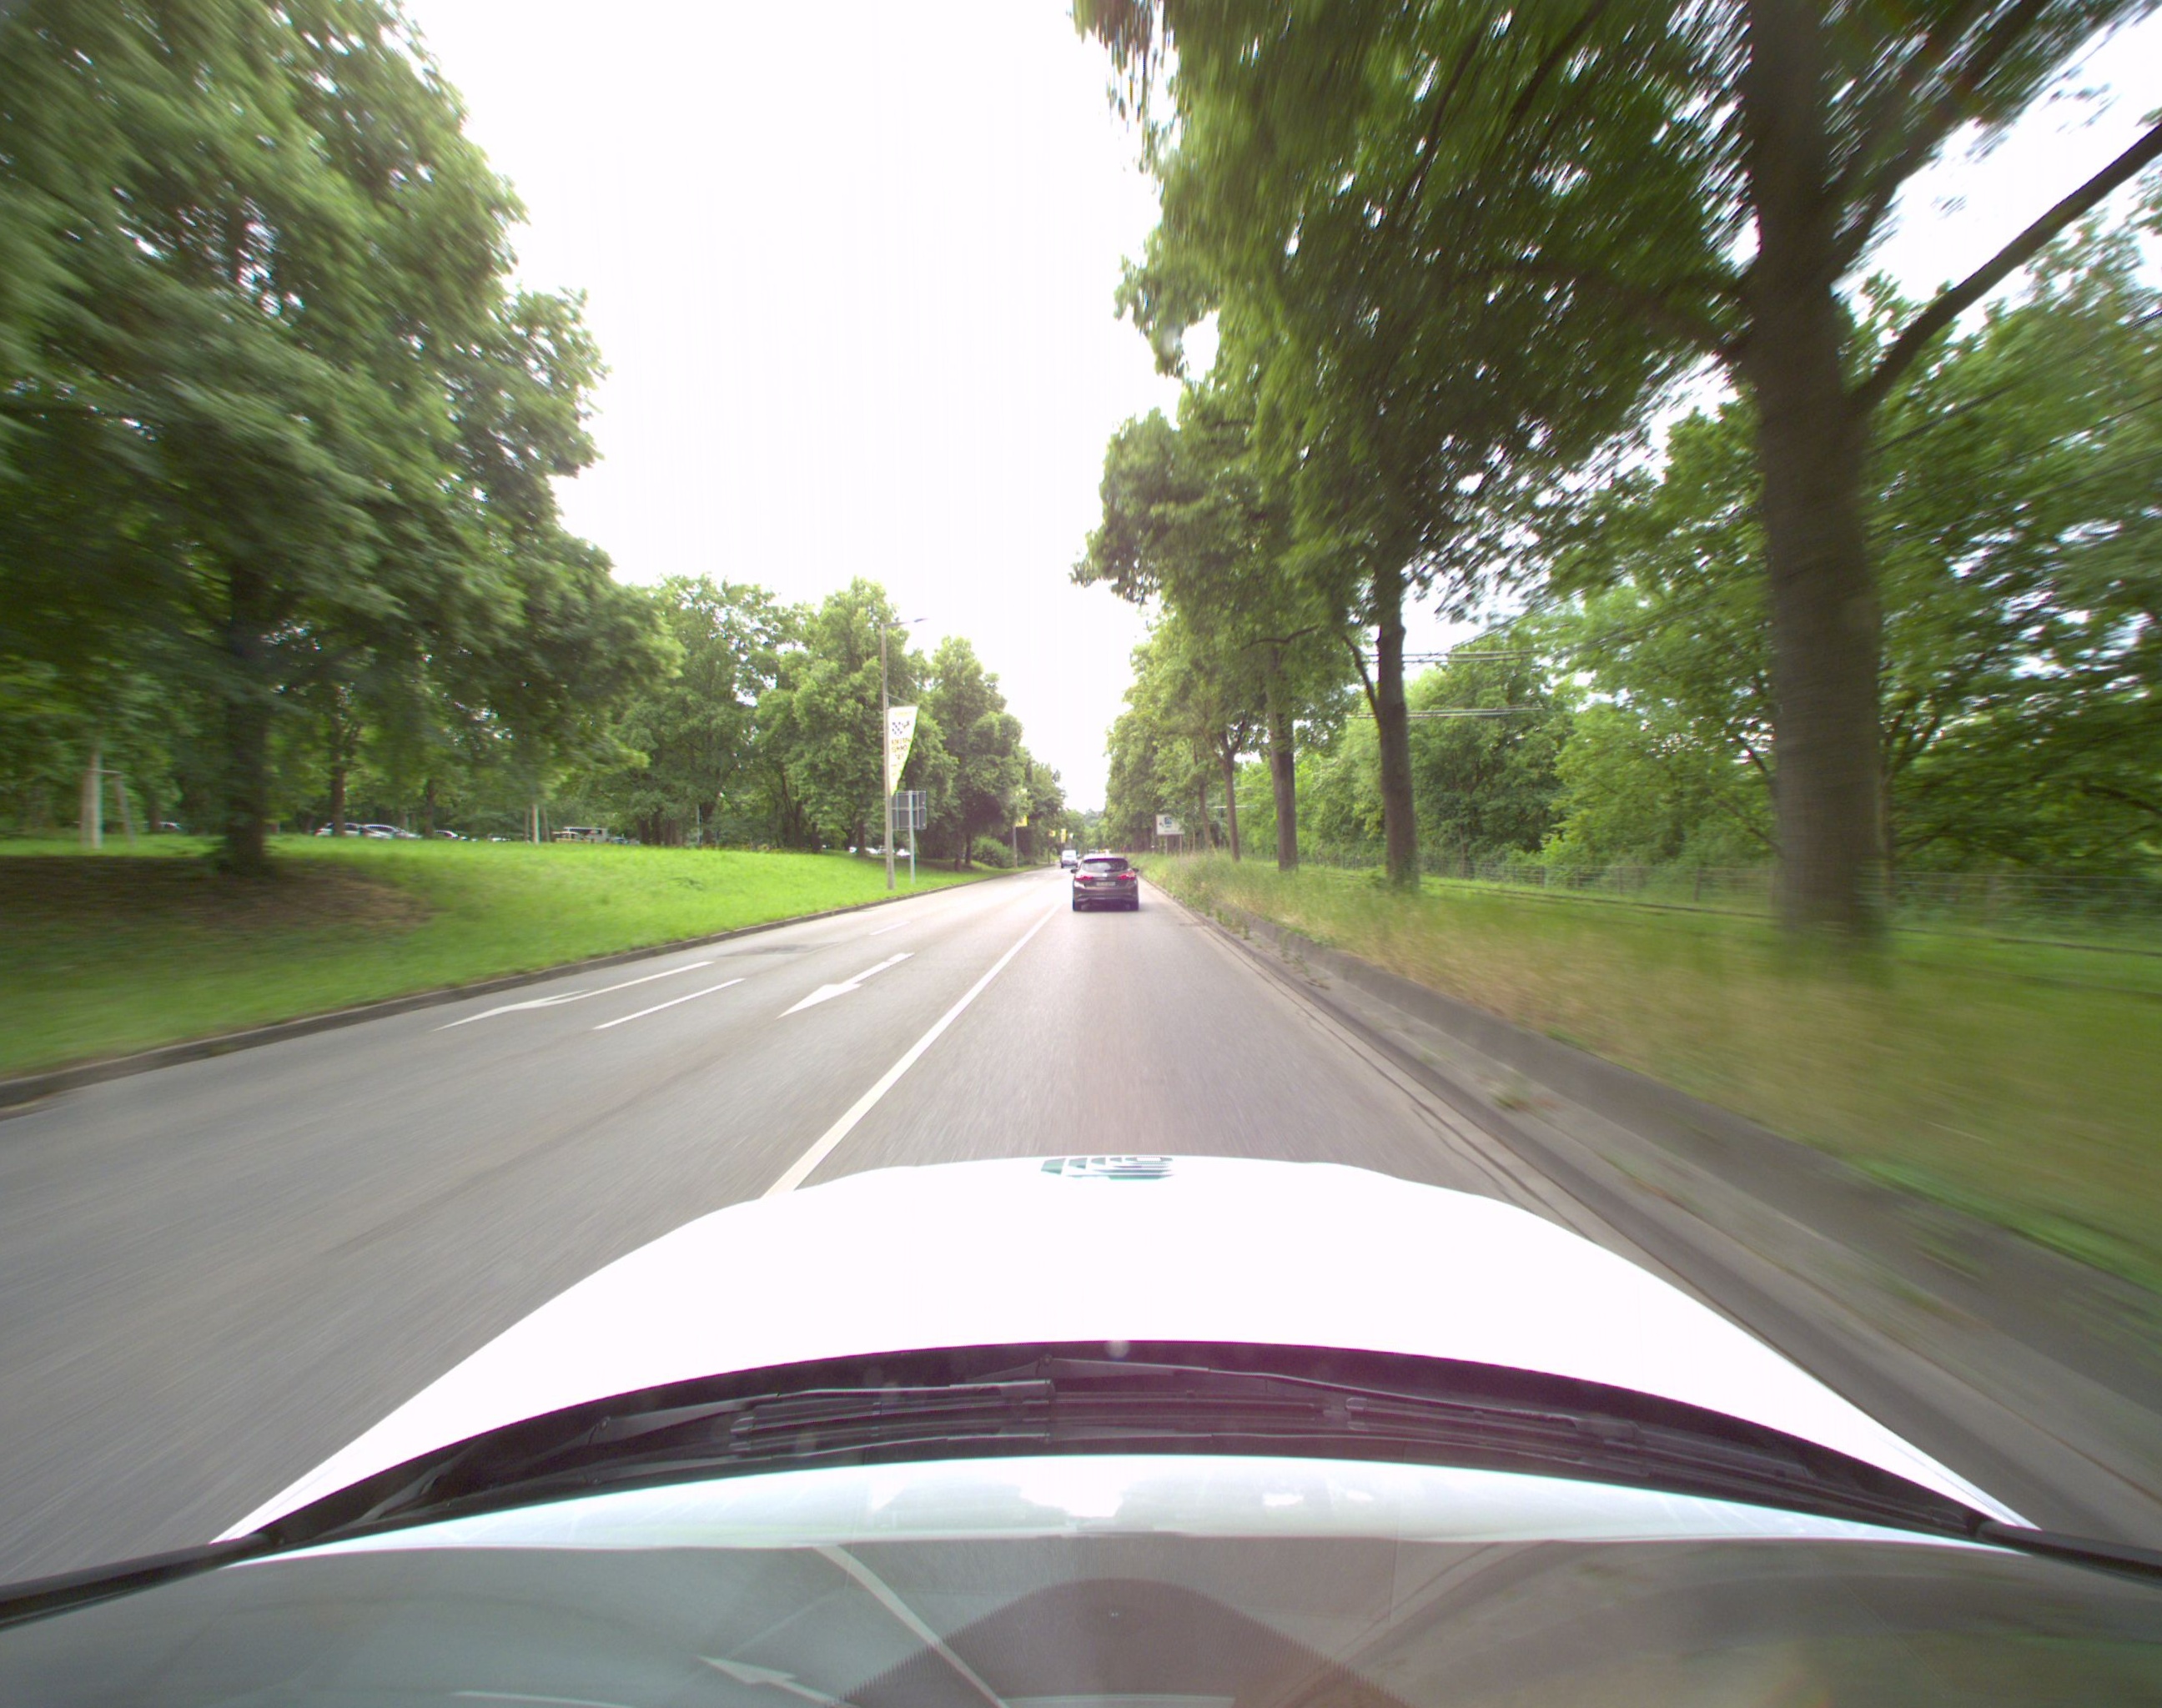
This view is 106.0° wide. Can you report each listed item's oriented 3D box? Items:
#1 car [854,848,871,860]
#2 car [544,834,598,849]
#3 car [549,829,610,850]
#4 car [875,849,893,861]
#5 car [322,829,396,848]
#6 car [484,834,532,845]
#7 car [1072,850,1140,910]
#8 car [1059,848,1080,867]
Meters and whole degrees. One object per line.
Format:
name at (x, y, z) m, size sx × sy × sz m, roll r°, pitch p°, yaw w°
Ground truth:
car at (-27.817, 0.068, 103.550) m, size 1.652 × 1.486 × 3.970 m, roll 0°, pitch 0°, yaw -22°
car at (-41.120, -0.987, 65.737) m, size 3.516 × 1.210 × 1.388 m, roll 0°, pitch -1°, yaw -27°
car at (-42.039, -1.203, 68.336) m, size 4.118 × 1.683 × 1.741 m, roll 0°, pitch -1°, yaw -22°
car at (-25.192, 0.143, 104.125) m, size 1.652 × 1.486 × 3.970 m, roll 0°, pitch 0°, yaw -22°
car at (-48.750, -1.007, 55.052) m, size 3.516 × 1.233 × 1.388 m, roll 0°, pitch -1°, yaw -27°
car at (-63.553, -1.574, 90.348) m, size 3.990 × 1.210 × 1.888 m, roll 0°, pitch 0°, yaw -23°
car at (0.688, 0.671, 22.781) m, size 1.724 × 1.537 × 3.552 m, roll 0°, pitch 0°, yaw 1°
car at (-1.232, 0.359, 89.580) m, size 1.986 × 1.955 × 5.186 m, roll -2°, pitch -1°, yaw 2°
